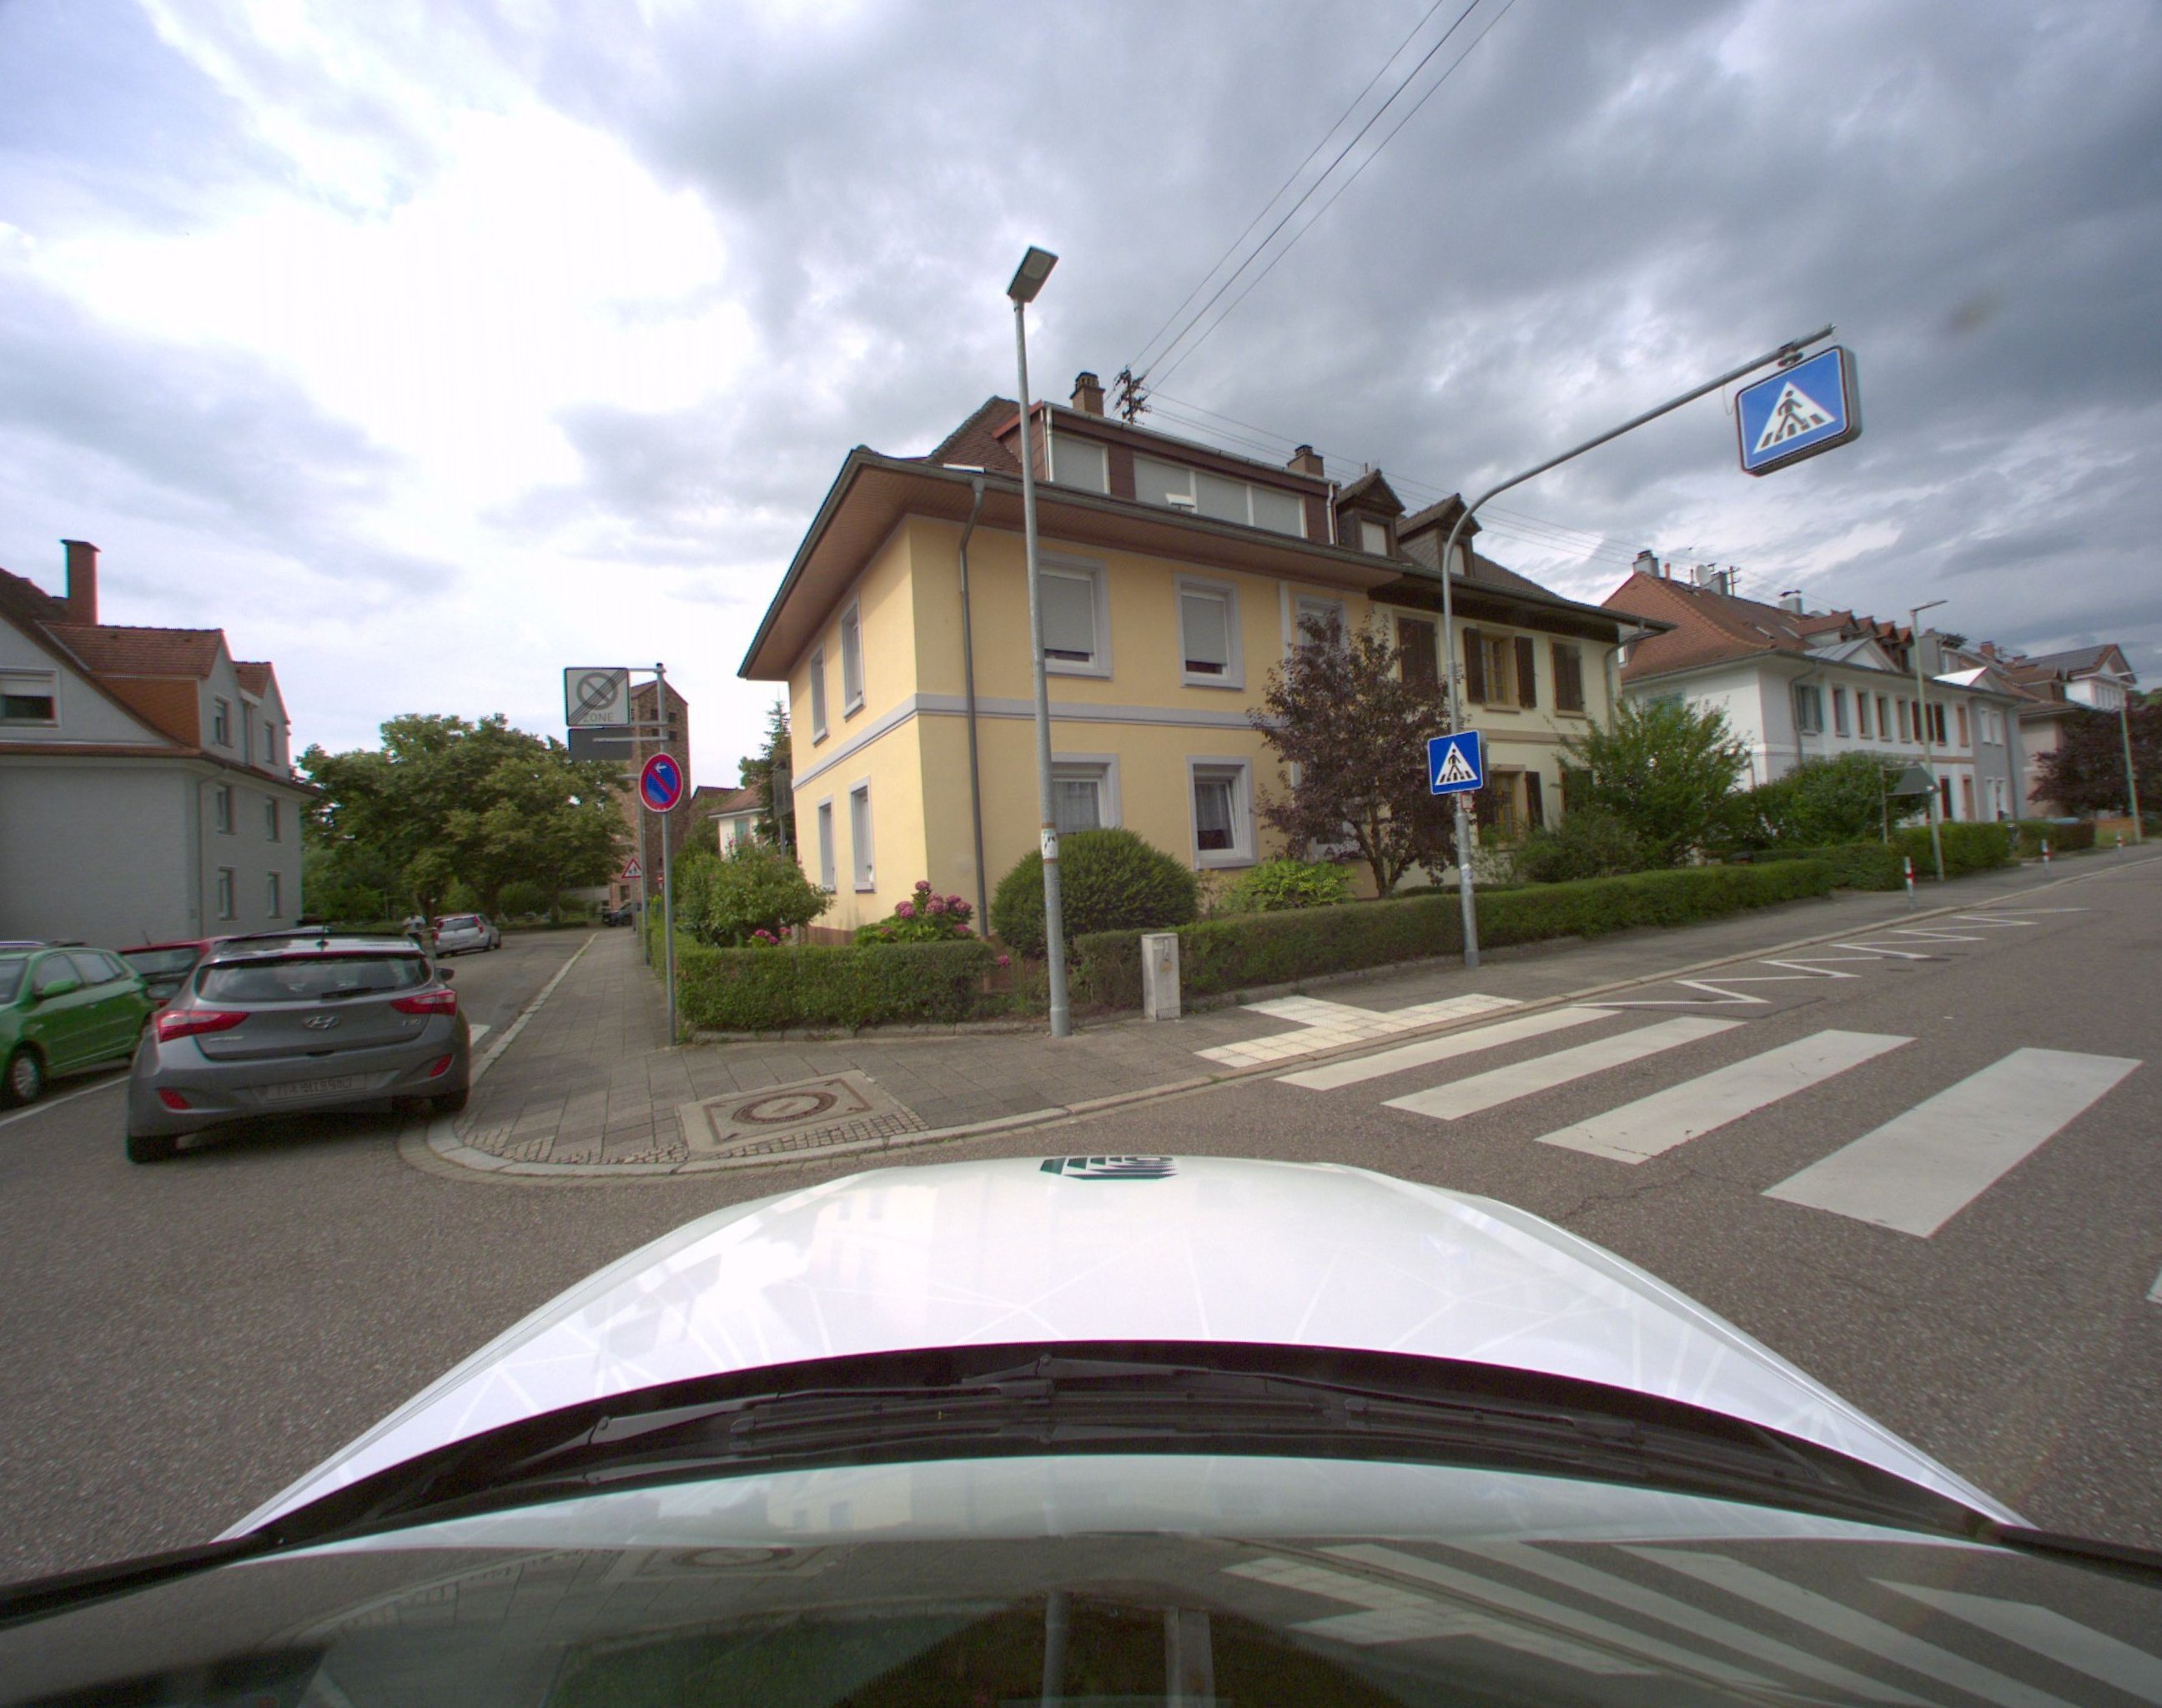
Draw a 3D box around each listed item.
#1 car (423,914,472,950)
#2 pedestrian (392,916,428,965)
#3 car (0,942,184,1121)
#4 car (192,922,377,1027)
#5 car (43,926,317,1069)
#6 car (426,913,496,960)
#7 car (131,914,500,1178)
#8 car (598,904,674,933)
[{"bbox_3d":[-31.143,3.813,40.125,1.659,1.495,3.442,-6,0,-36],"label":"car"},{"bbox_3d":[-27.498,3.518,33.394,0.887,1.878,1.068,-3,-2,-30],"label":"pedestrian"},{"bbox_3d":[-10.999,1.781,8.145,1.657,1.421,3.447,-6,0,-31],"label":"car"},{"bbox_3d":[-15.175,2.203,15.741,1.657,1.495,3.447,-6,0,-31],"label":"car"},{"bbox_3d":[-13.051,1.960,12.085,1.657,1.495,3.447,-6,0,-31],"label":"car"},{"bbox_3d":[-24.168,3.182,31.847,1.657,1.495,3.447,-6,0,-31],"label":"car"},{"bbox_3d":[-6.697,1.360,7.073,3.990,1.481,1.866,-5,-2,42],"label":"car"},{"bbox_3d":[-29.148,4.188,53.383,4.241,1.464,1.667,-3,0,-31],"label":"car"}]
